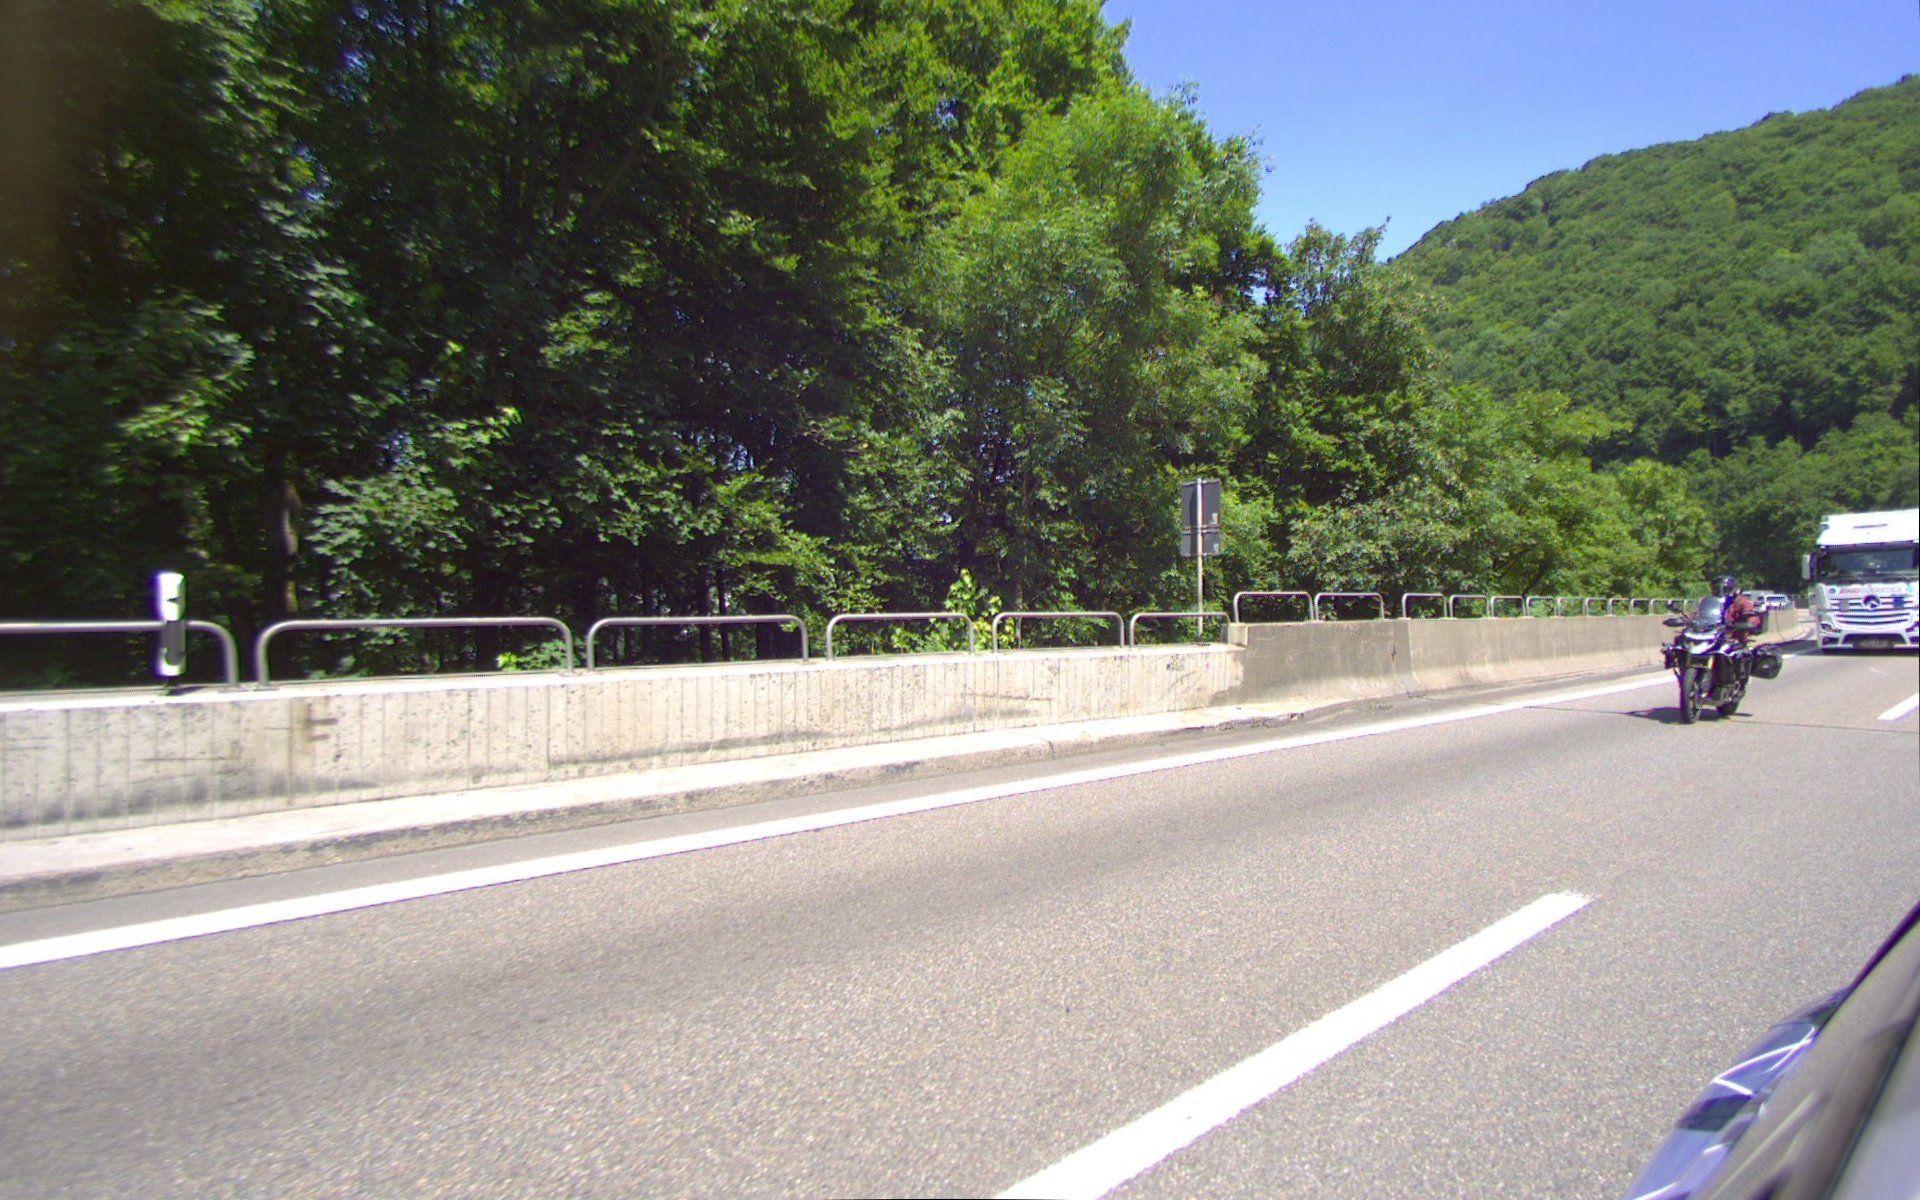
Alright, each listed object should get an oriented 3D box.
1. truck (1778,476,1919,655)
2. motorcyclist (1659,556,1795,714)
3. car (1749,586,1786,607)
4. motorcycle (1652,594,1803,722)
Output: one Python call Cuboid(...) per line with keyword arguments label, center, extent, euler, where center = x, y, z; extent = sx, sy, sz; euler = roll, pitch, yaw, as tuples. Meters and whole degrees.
Cuboid(label="truck", center=(27.779, -0.847, 30.089), extent=(16.426, 4.186, 2.963), euler=(-1, -2, -43))
Cuboid(label="motorcyclist", center=(9.477, 0.397, 12.505), extent=(1.314, 1.823, 1.062), euler=(0, 0, -40))
Cuboid(label="car", center=(80.307, -0.338, 100.713), extent=(1.980, 2.039, 3.964), euler=(0, 0, 26))
Cuboid(label="motorcycle", center=(9.628, 0.648, 12.652), extent=(2.634, 1.437, 0.974), euler=(0, 0, -41))
